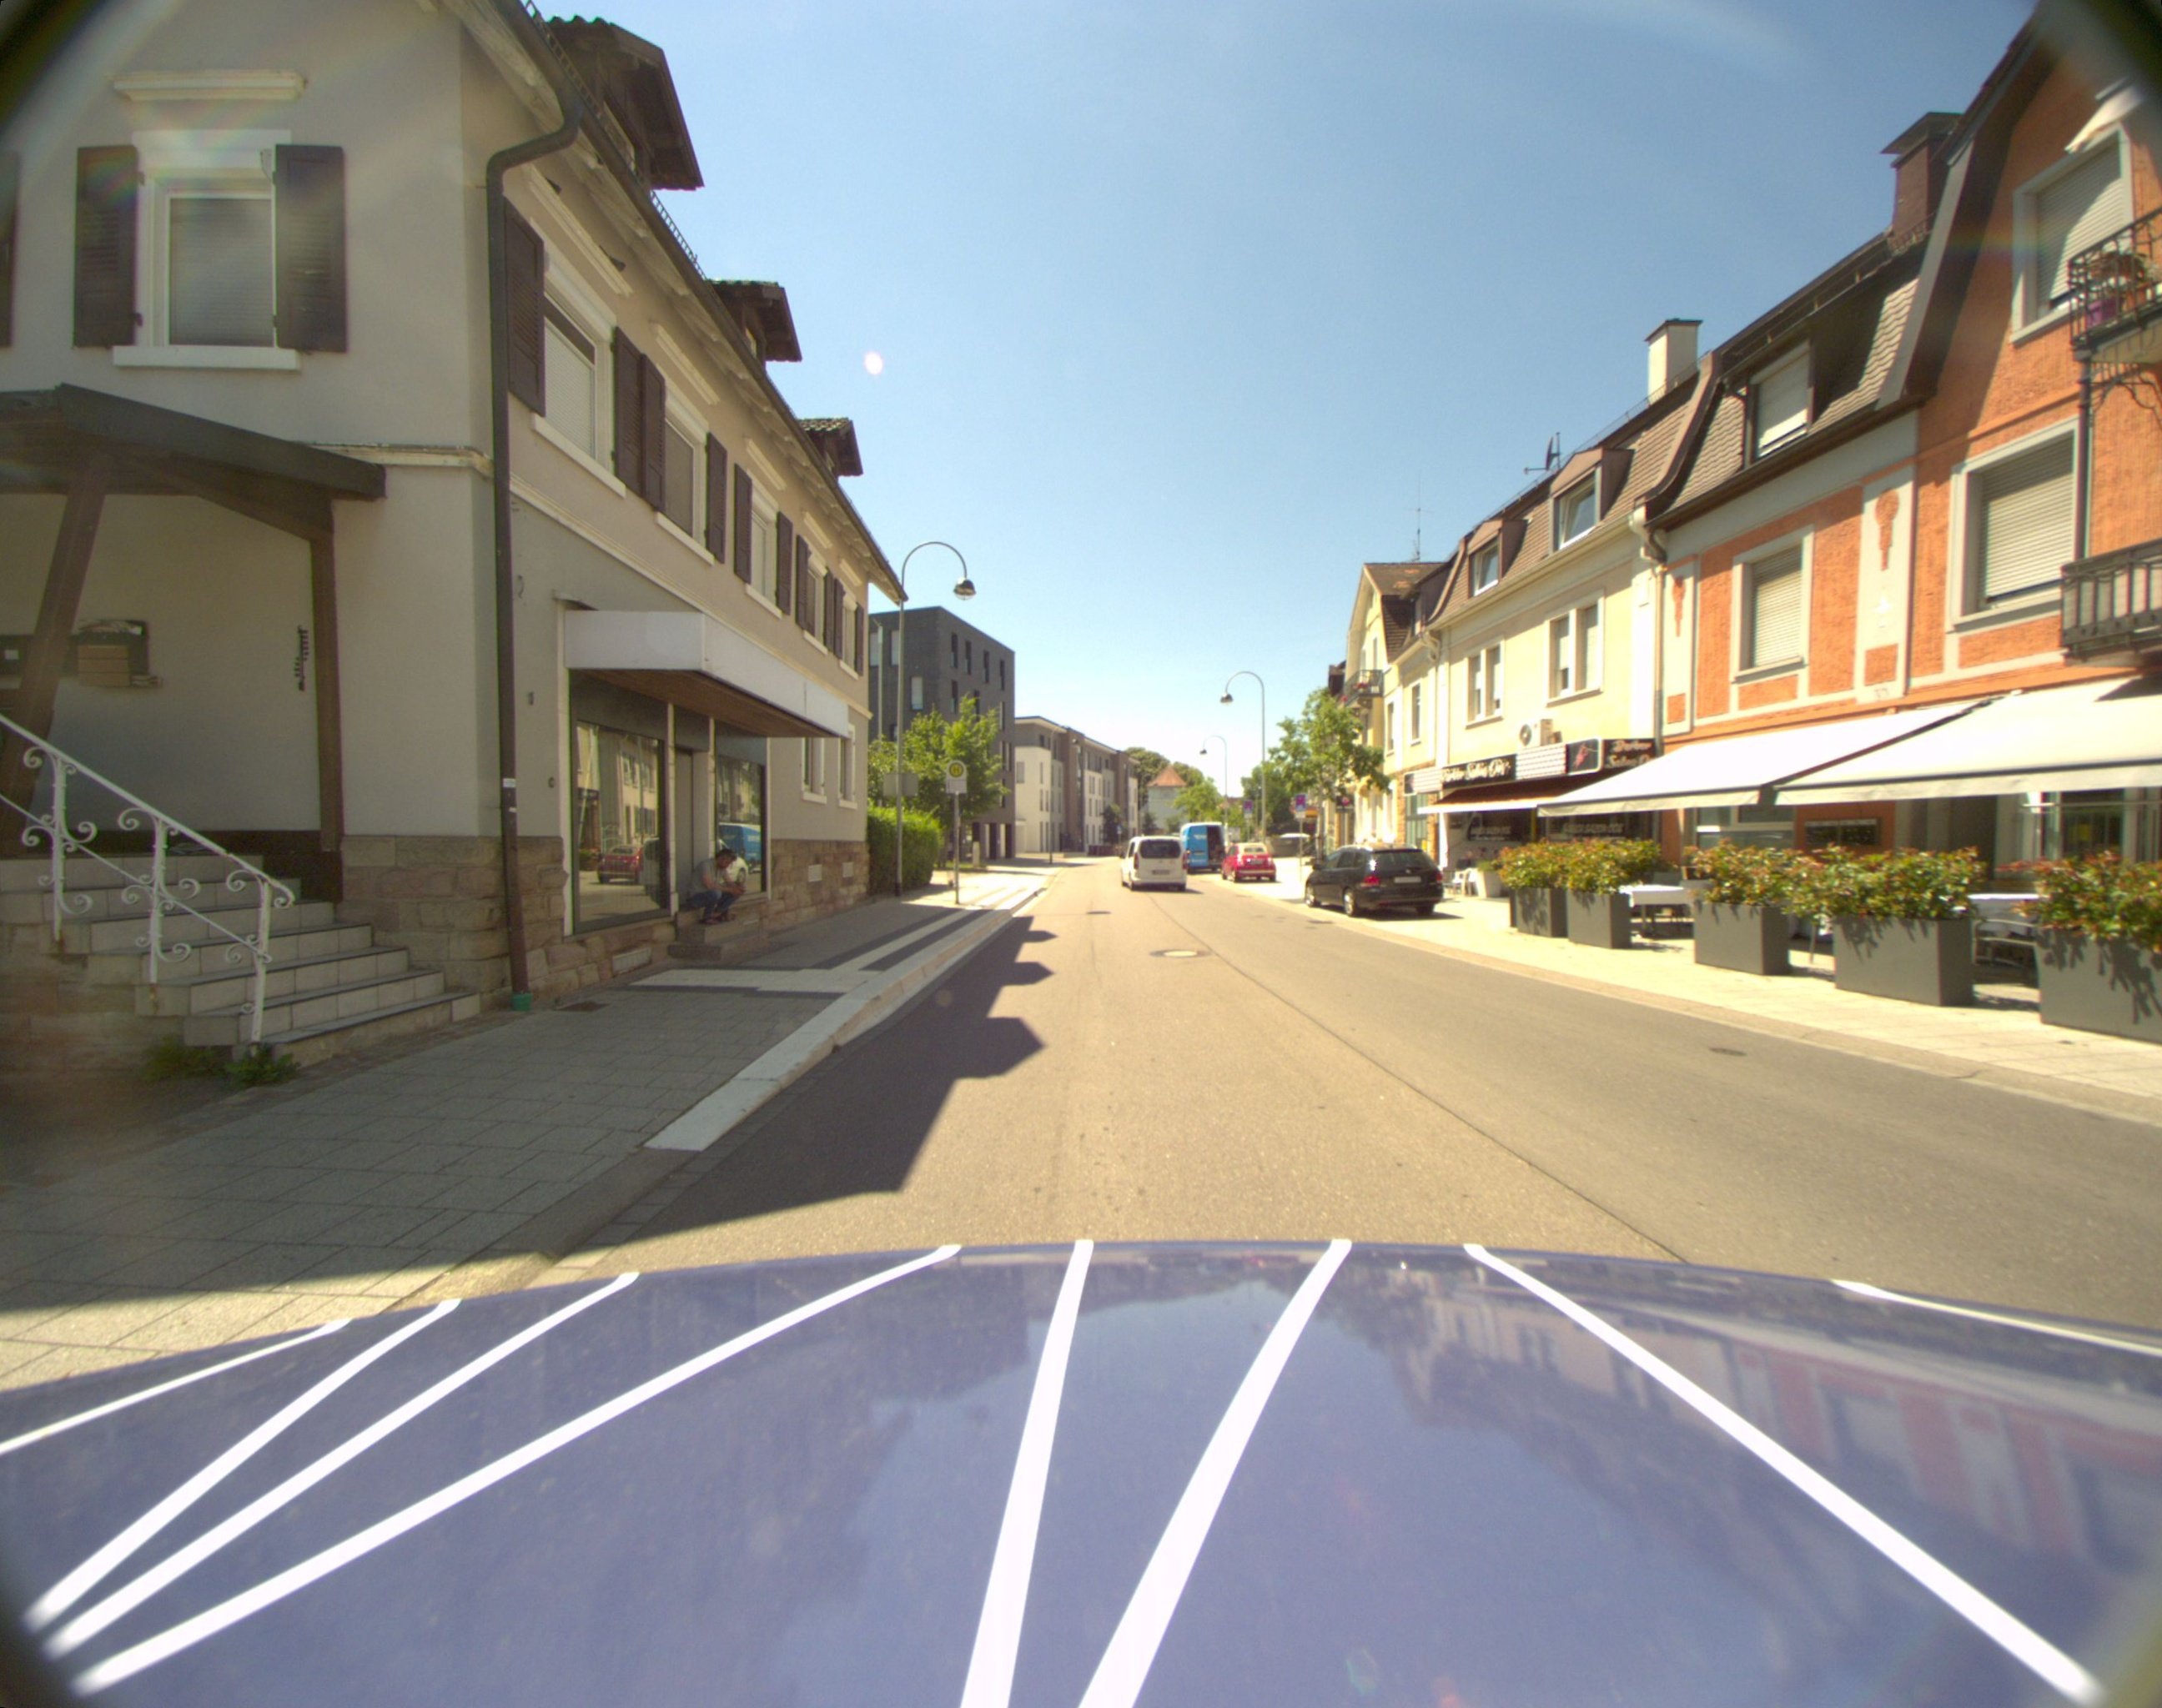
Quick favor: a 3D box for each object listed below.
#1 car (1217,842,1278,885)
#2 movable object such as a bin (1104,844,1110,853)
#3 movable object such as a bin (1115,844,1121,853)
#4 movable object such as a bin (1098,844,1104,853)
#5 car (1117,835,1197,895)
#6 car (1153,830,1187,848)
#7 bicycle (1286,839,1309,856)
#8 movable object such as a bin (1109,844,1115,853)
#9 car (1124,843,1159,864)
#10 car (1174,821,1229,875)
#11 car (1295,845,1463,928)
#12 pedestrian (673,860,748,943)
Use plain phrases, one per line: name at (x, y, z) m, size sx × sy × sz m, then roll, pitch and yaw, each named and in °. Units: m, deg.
car at (6.513, 0.330, 30.006) m, size 1.564 × 1.512 × 3.514 m, roll -1°, pitch 2°, yaw -1°
movable object such as a bin at (2.774, -0.569, 80.231) m, size 0.473 × 0.925 × 0.529 m, roll 2°, pitch 3°, yaw 17°
movable object such as a bin at (3.849, -0.546, 79.949) m, size 0.473 × 0.925 × 0.529 m, roll 2°, pitch 3°, yaw 17°
movable object such as a bin at (2.075, -0.583, 80.422) m, size 0.473 × 0.925 × 0.529 m, roll 2°, pitch 3°, yaw 17°
car at (2.459, 0.310, 25.790) m, size 1.999 × 1.811 × 4.413 m, roll 1°, pitch 1°, yaw -3°
car at (13.564, -2.337, 116.349) m, size 4.860 × 2.721 × 1.853 m, roll 1°, pitch 2°, yaw 18°
bicycle at (18.101, -0.536, 63.662) m, size 1.768 × 1.227 × 0.617 m, roll -4°, pitch 0°, yaw 14°
movable object such as a bin at (3.294, -0.555, 80.124) m, size 0.473 × 0.925 × 0.529 m, roll 2°, pitch 3°, yaw 17°
car at (4.291, -0.051, 54.088) m, size 1.921 × 1.418 × 3.978 m, roll 1°, pitch 1°, yaw -4°
car at (6.045, -0.361, 38.664) m, size 2.097 × 2.484 × 5.503 m, roll -2°, pitch 1°, yaw 2°
car at (6.361, 0.606, 16.810) m, size 1.920 × 1.473 × 4.336 m, roll -3°, pitch 1°, yaw -1°
pedestrian at (-4.699, 0.582, 9.673) m, size 0.591 × 0.994 × 0.724 m, roll 1°, pitch 1°, yaw -1°
